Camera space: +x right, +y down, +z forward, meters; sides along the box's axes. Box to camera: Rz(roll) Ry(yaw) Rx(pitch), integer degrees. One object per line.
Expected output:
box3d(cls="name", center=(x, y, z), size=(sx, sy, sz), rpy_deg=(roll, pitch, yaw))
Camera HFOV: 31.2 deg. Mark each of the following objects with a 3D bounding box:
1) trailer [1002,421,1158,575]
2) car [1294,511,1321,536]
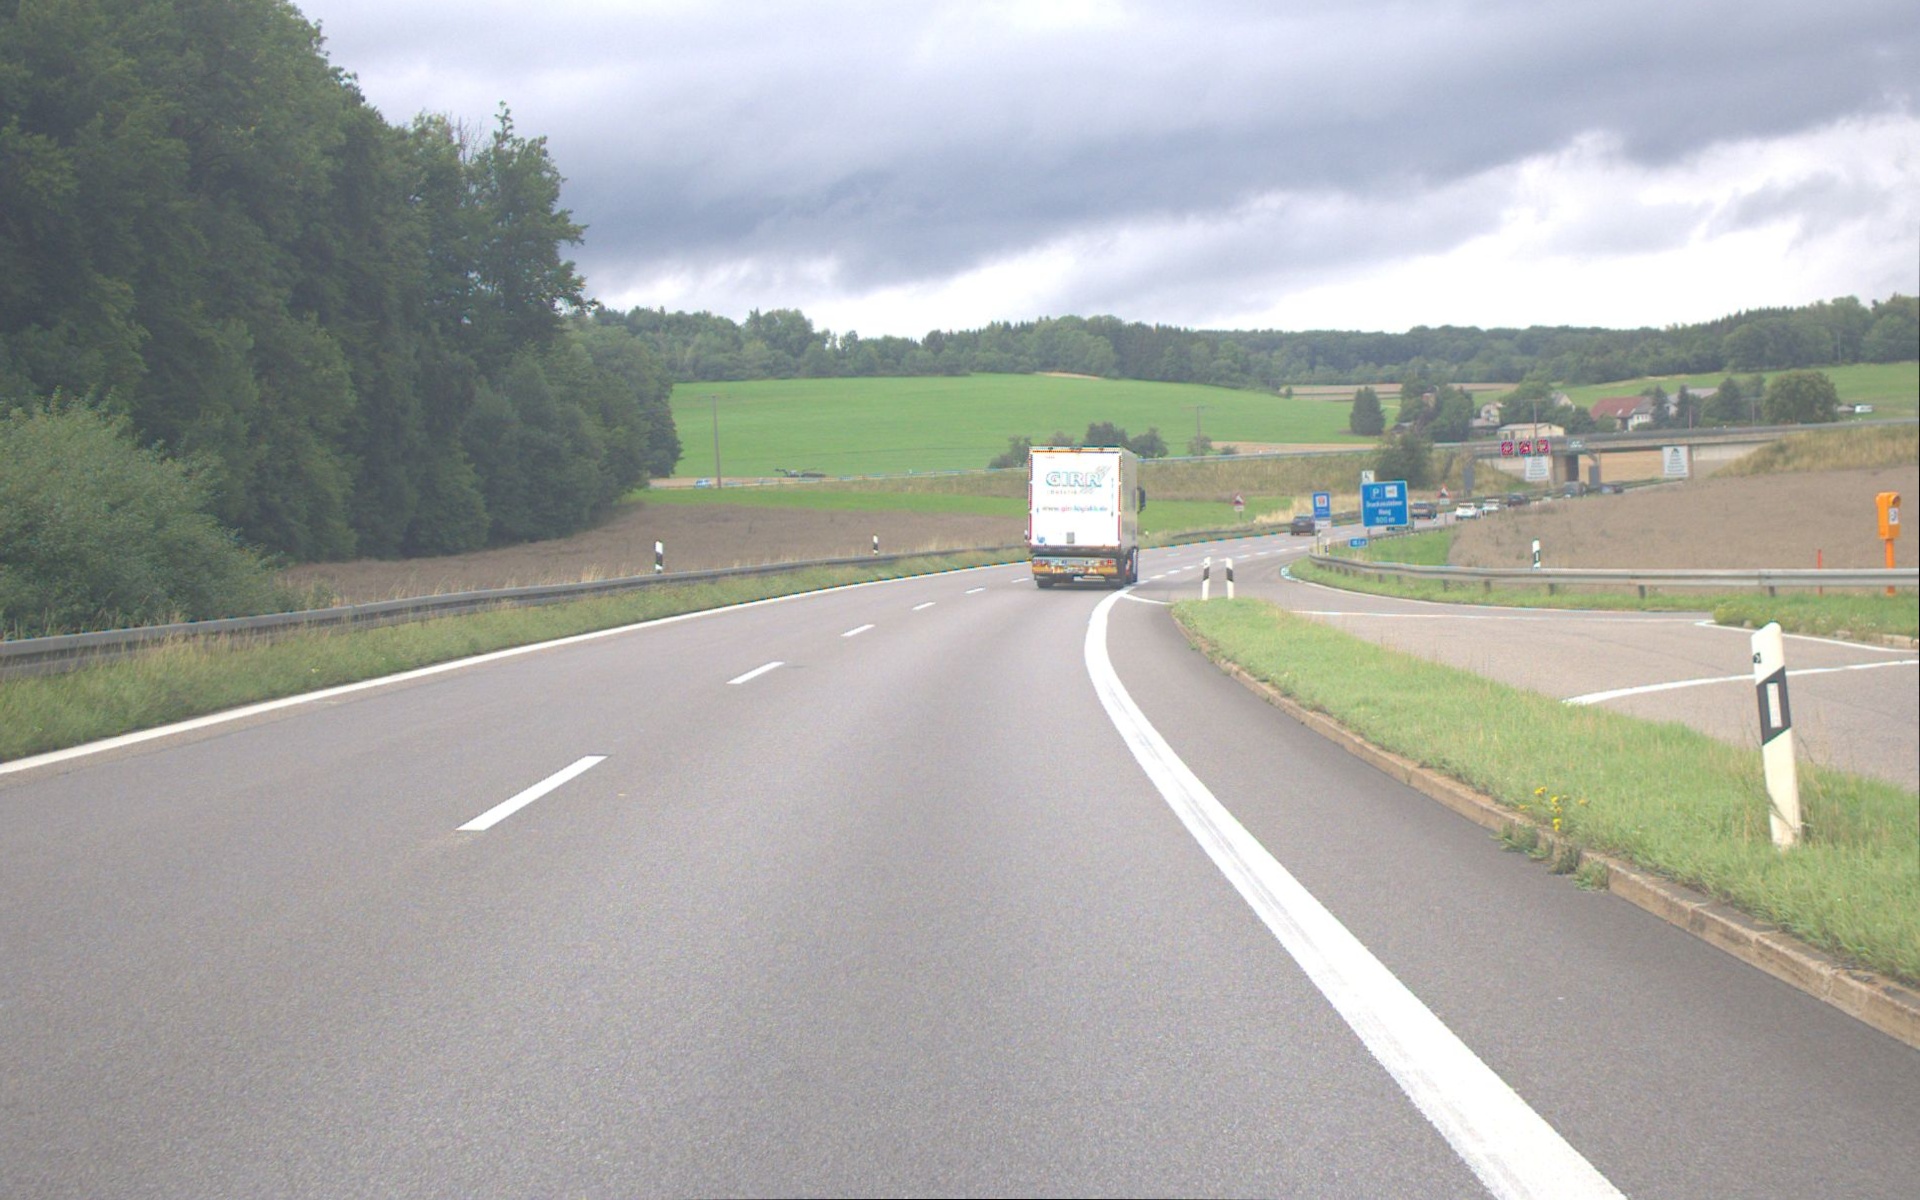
box3d(cls="trailer", center=(3.702, -2.938, 101.212), size=(3.806, 4.160, 14.806), rpy_deg=(1, 1, 5))
box3d(cls="car", center=(26.158, -5.757, 258.634), size=(1.903, 1.789, 3.999), rpy_deg=(0, -1, 7))
